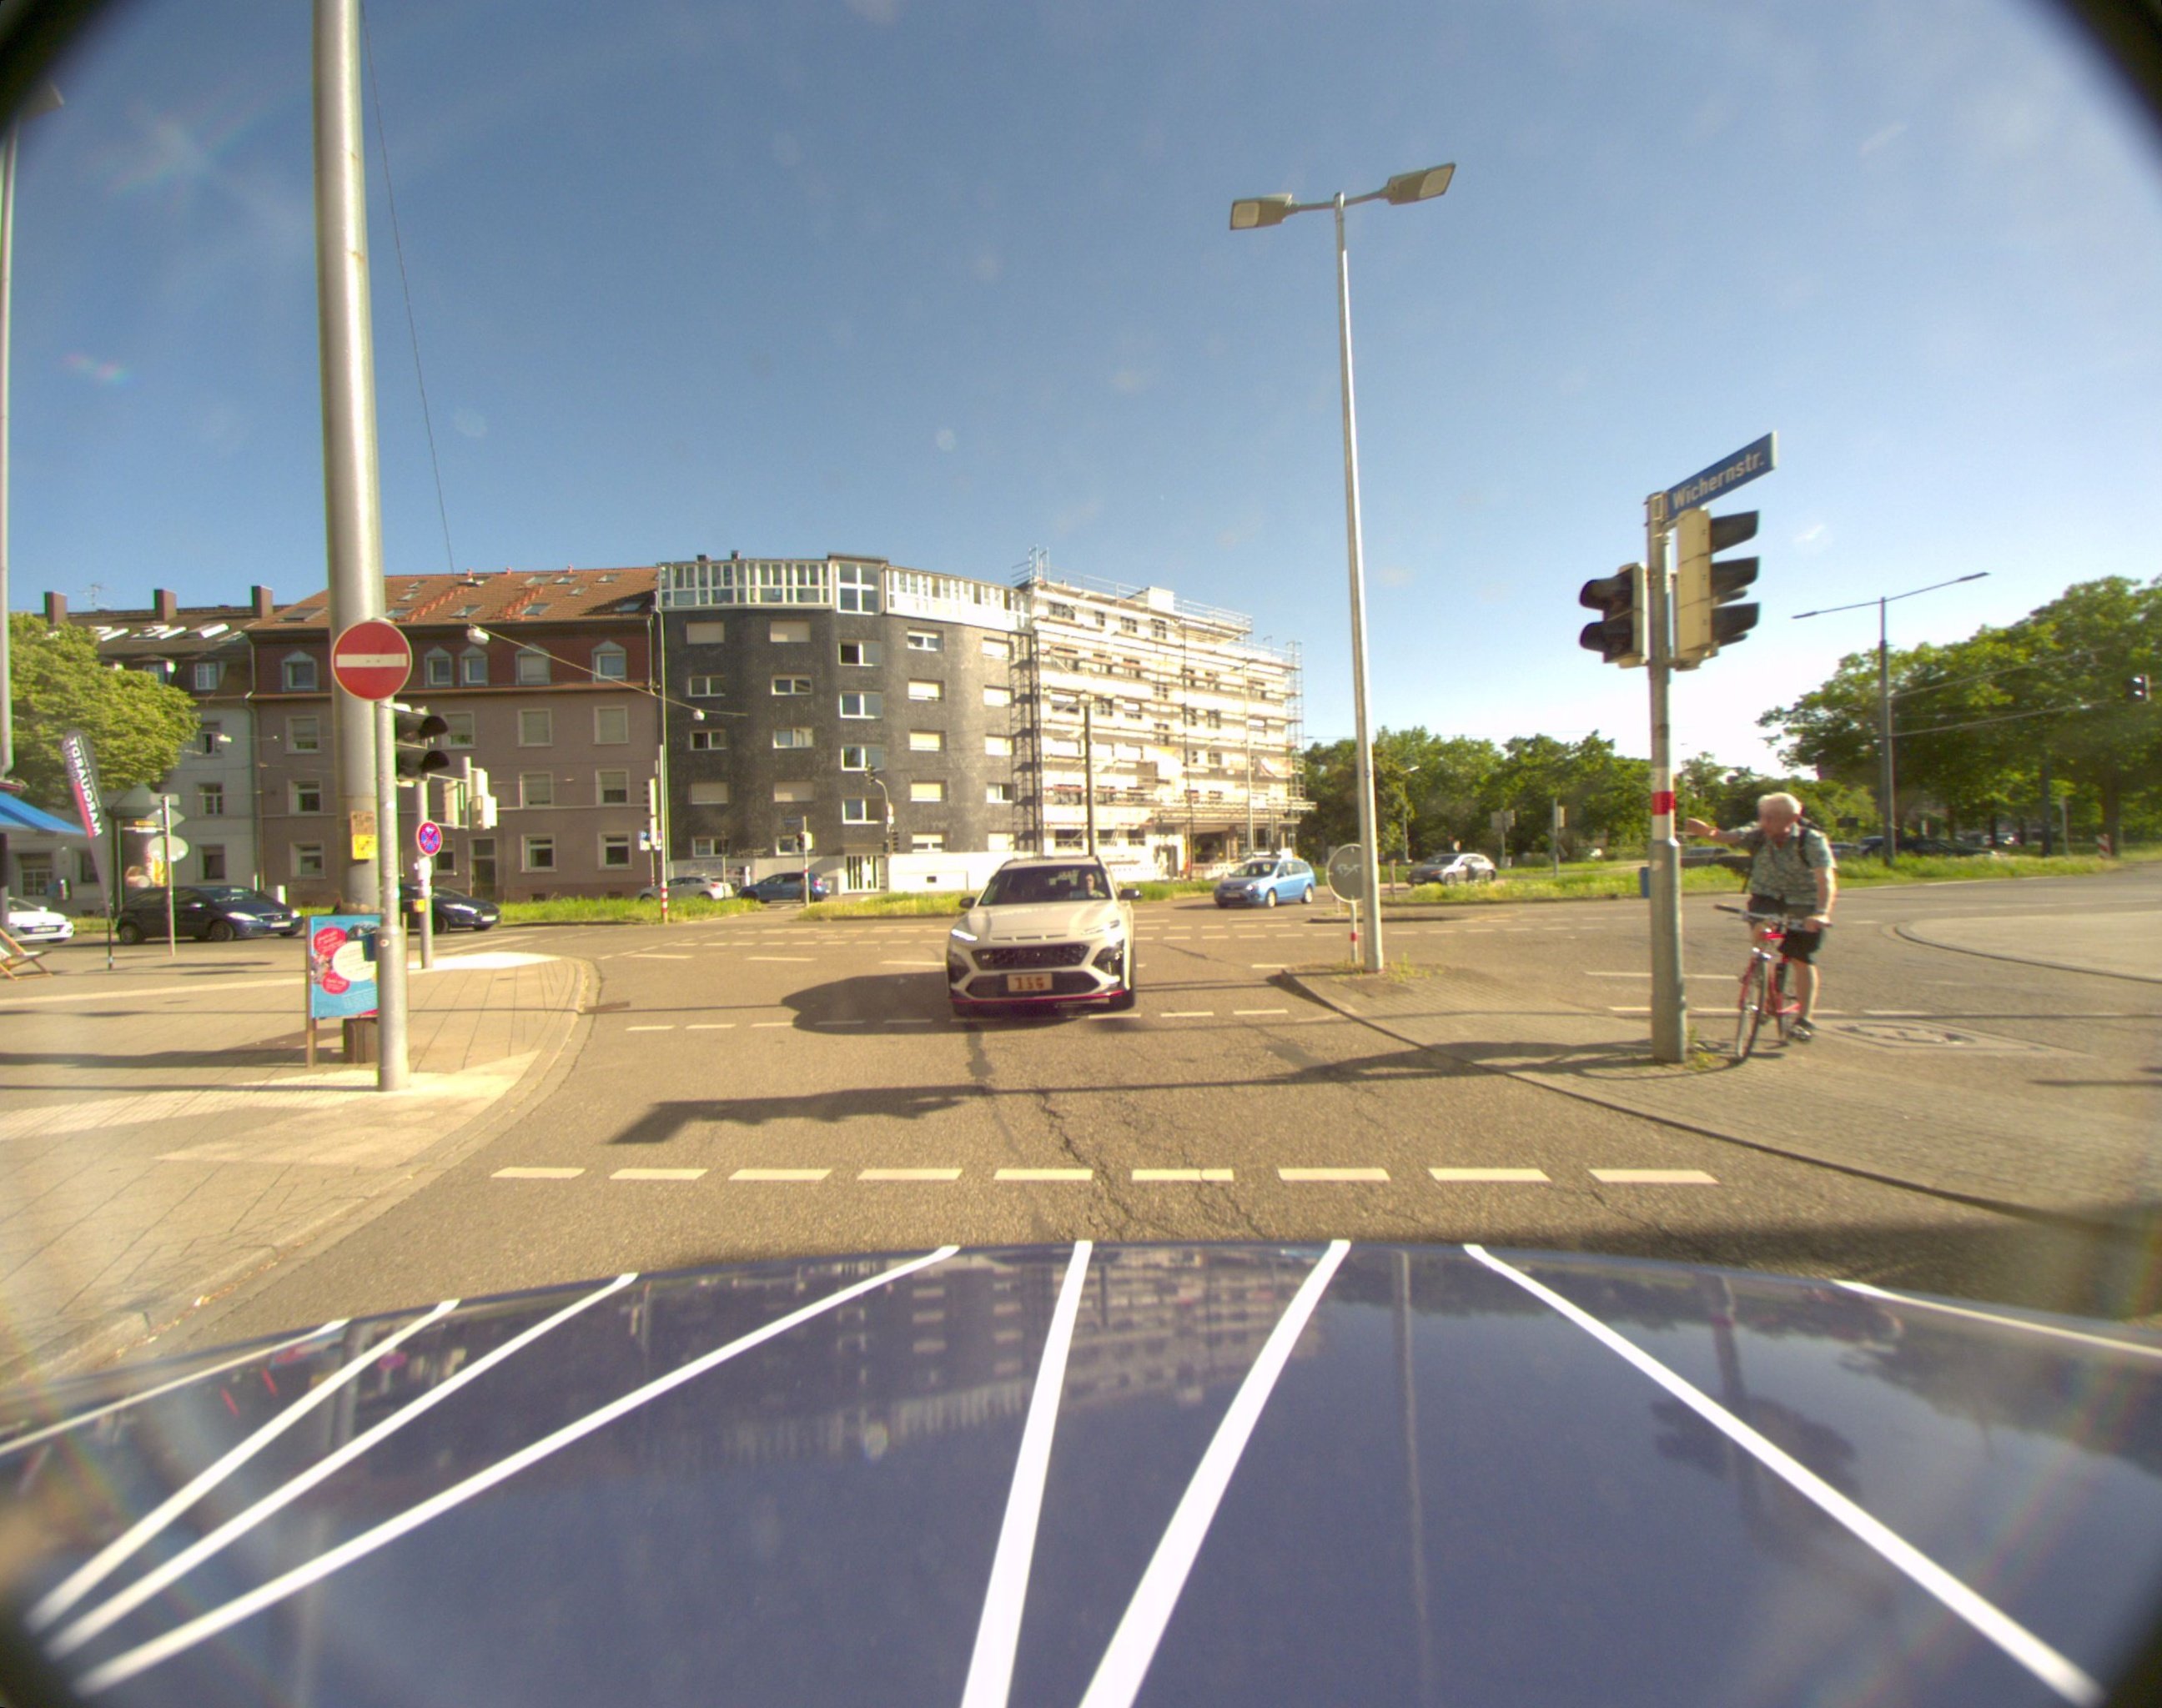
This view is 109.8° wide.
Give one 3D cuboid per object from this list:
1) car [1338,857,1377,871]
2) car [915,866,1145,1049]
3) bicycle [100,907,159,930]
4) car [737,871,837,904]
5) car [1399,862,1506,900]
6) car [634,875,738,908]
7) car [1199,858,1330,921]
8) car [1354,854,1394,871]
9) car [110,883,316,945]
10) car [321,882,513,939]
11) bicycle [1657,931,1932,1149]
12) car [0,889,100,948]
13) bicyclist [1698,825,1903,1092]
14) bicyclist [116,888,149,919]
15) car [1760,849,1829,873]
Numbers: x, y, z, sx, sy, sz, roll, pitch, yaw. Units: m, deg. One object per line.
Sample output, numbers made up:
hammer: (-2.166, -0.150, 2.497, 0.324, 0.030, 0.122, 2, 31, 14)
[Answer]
car: (27.931, 0.988, 76.746, 3.691, 1.386, 1.817, -1, 0, -33)
car: (-0.274, 0.953, 8.895, 1.903, 1.543, 4.487, -1, -1, 6)
bicycle: (-43.077, 2.930, 34.415, 1.995, 0.949, 0.507, -1, 0, 0)
car: (-13.762, 1.559, 35.646, 3.997, 1.407, 1.689, -1, 0, 1)
car: (15.956, 1.134, 32.583, 4.491, 1.447, 1.870, -1, 0, -29)
car: (-18.528, 1.765, 35.747, 3.997, 1.407, 1.689, -1, 0, 1)
car: (5.920, 1.045, 24.212, 4.494, 1.765, 1.869, -1, -1, -43)
car: (28.778, 0.867, 74.627, 3.691, 1.574, 1.817, -1, 0, -33)
car: (-24.316, 1.655, 21.371, 3.996, 1.571, 1.659, -1, 0, 3)
car: (-18.641, 1.562, 21.434, 3.996, 1.444, 1.735, -1, -2, 3)
bicycle: (4.680, 1.090, 4.952, 1.949, 0.980, 0.827, -1, 0, -32)
car: (-31.720, 1.892, 22.248, 3.996, 1.571, 1.659, -1, 0, 3)
bicyclist: (4.641, 0.612, 4.929, 0.597, 1.555, 0.826, -1, 0, -32)
bicyclist: (-42.974, 2.239, 34.415, 0.805, 1.401, 0.509, -1, 0, -1)
car: (46.144, 0.442, 49.115, 4.491, 1.447, 1.870, -1, 0, -28)
